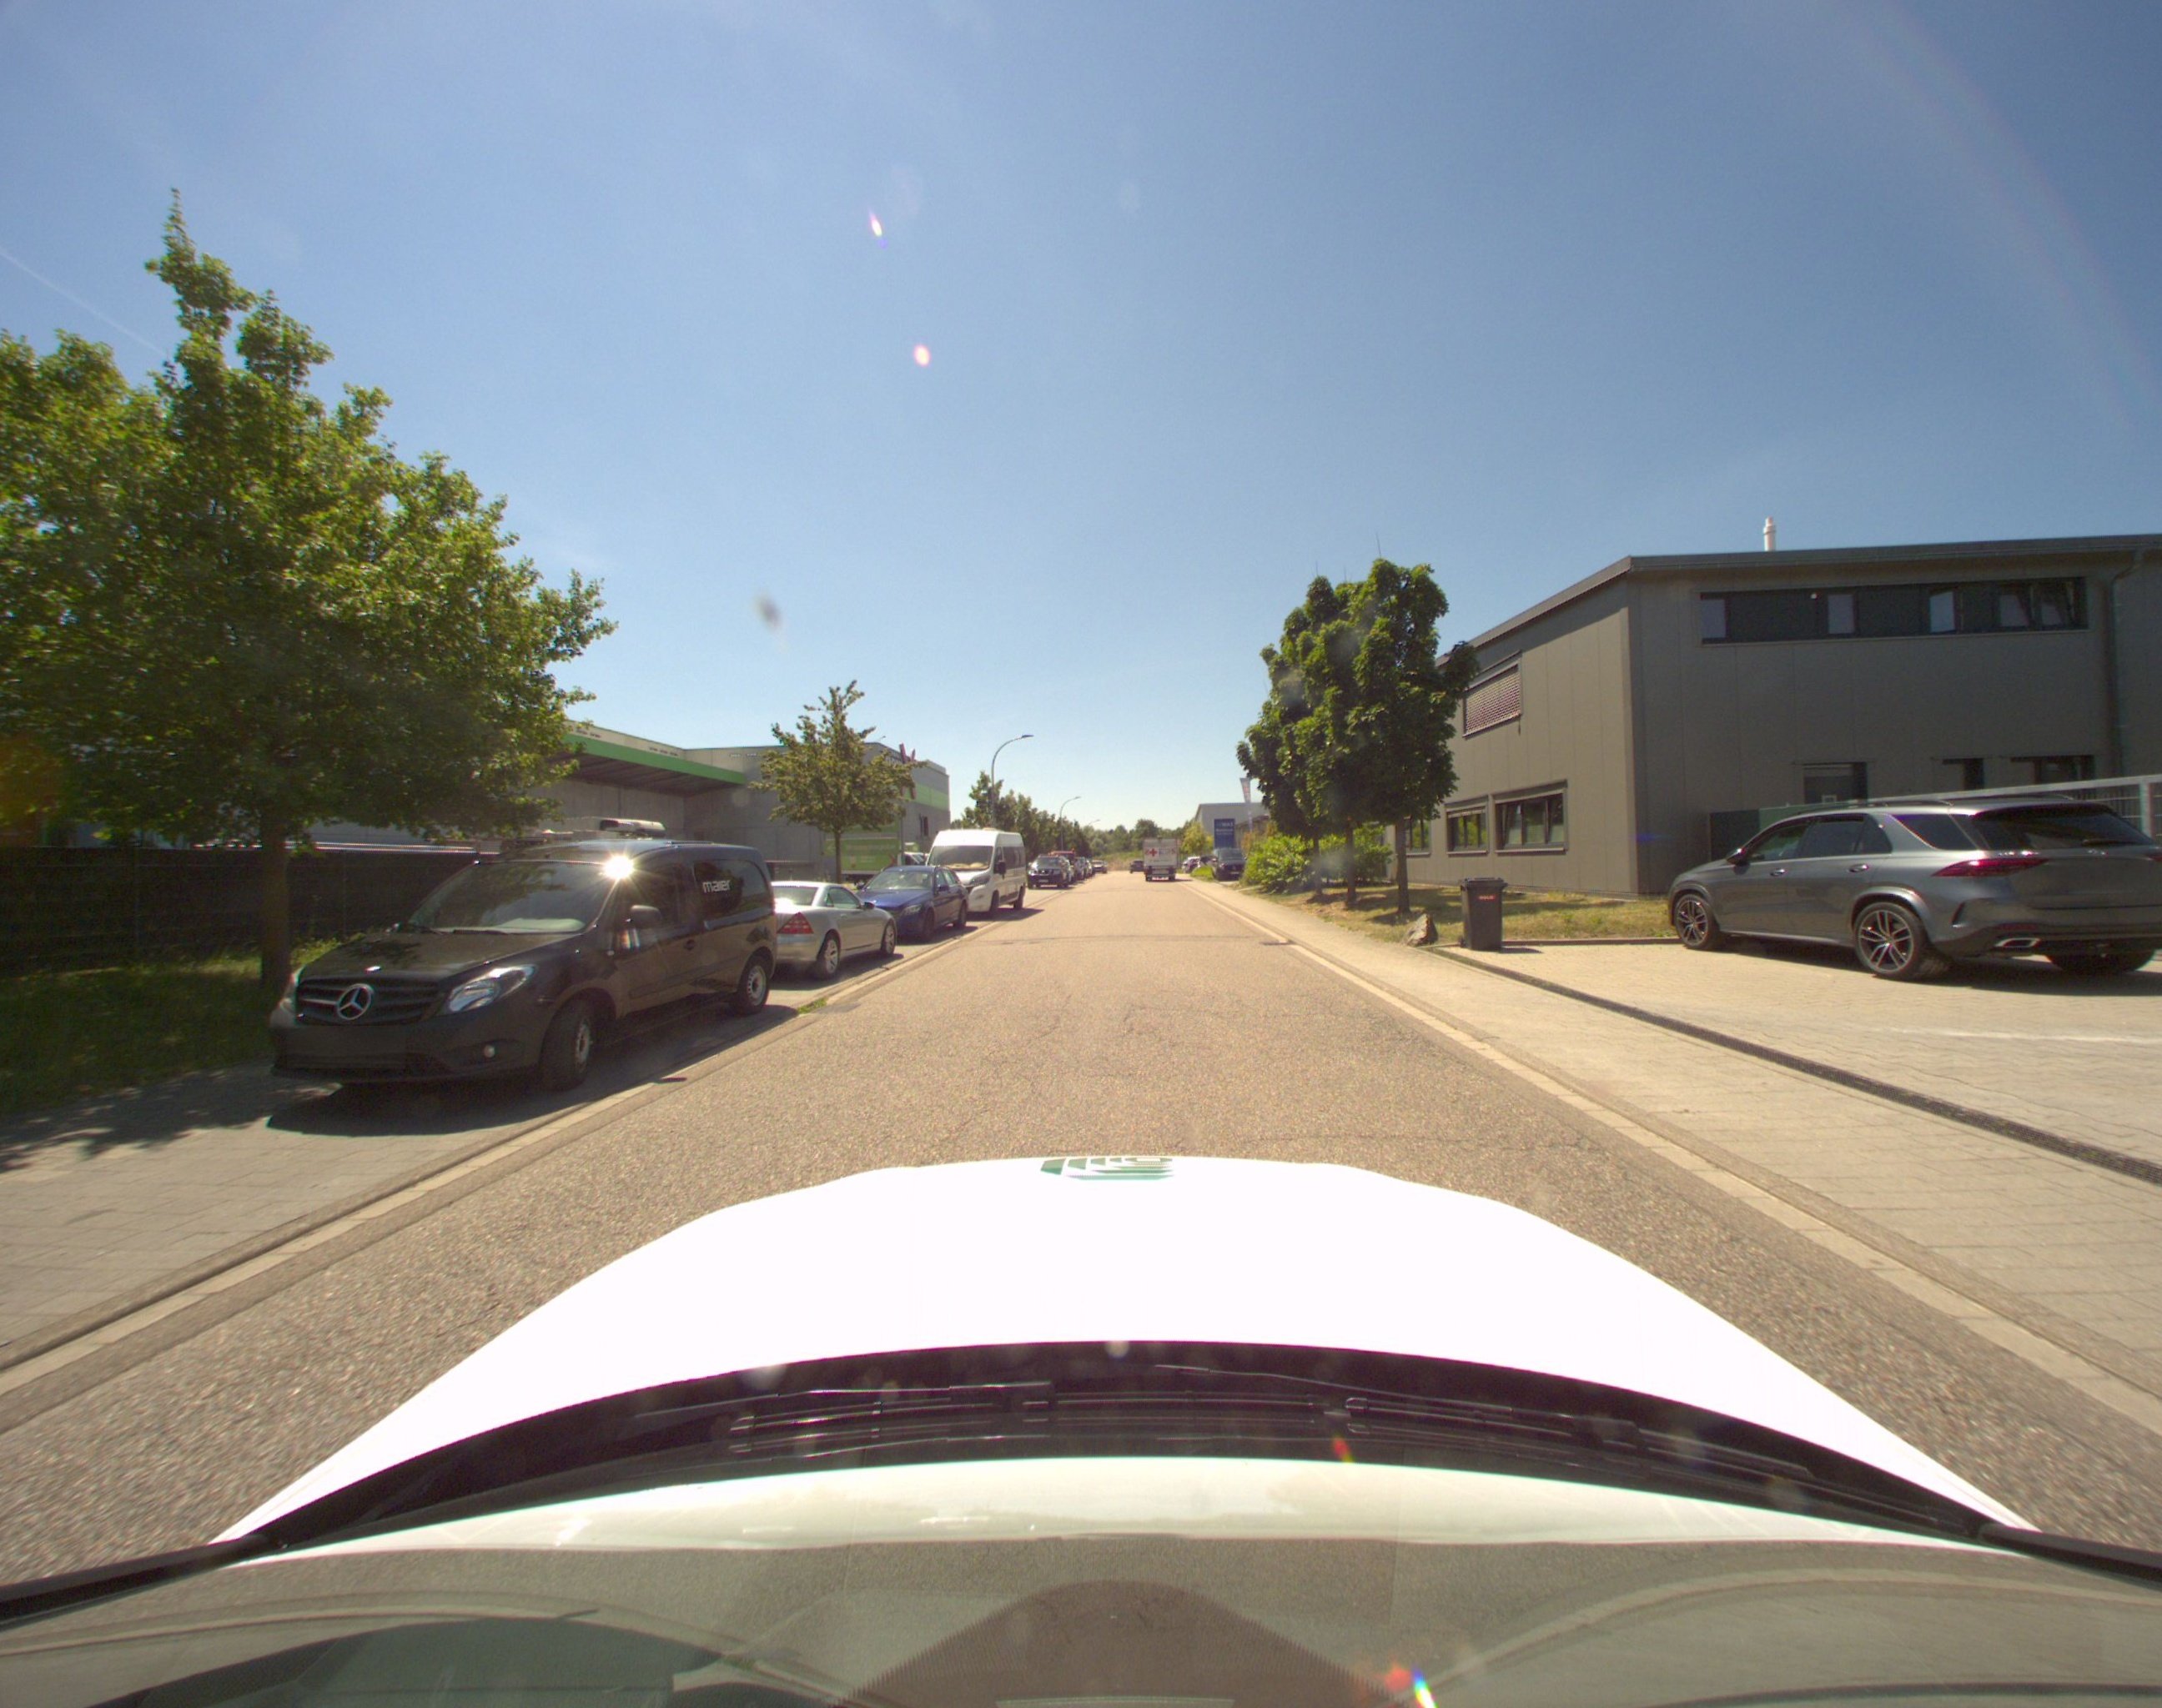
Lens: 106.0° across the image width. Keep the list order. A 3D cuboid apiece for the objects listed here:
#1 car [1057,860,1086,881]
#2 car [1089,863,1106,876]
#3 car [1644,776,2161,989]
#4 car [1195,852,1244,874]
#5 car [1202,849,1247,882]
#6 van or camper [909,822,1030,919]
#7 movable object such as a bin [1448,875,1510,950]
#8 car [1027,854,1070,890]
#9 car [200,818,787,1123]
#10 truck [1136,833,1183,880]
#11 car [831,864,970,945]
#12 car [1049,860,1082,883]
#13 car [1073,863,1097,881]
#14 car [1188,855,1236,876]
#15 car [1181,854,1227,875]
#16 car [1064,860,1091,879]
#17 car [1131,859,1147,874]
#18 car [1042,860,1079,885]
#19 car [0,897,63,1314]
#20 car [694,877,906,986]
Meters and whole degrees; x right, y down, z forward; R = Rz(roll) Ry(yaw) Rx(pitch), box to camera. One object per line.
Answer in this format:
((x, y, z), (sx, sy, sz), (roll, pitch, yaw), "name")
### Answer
((-0.681, 1.208, 61.567), (1.790, 1.487, 4.258), (0, 0, 5), "car")
((2.065, 1.903, 101.635), (1.790, 1.487, 4.258), (0, 0, 5), "car")
((8.950, 0.306, 9.442), (1.776, 1.783, 4.913), (-2, -2, 6), "car")
((11.513, 0.757, 67.870), (3.862, 1.750, 1.752), (1, -1, 1), "car")
((8.487, 0.680, 48.535), (1.986, 1.803, 4.141), (-1, -1, 1), "car")
((-3.076, 0.476, 24.131), (2.068, 2.483, 6.140), (1, -1, 6), "van or camper")
((5.893, 0.855, 12.095), (0.529, 1.052, 0.846), (-1, -1, 5), "movable object such as a bin")
((-1.721, 0.918, 44.235), (1.790, 1.849, 4.258), (0, 0, 5), "car")
((-4.299, 0.730, 7.014), (1.792, 1.814, 4.255), (0, -1, 3), "car")
((5.241, 0.193, 55.237), (2.920, 2.974, 6.426), (1, -1, 4), "truck")
((-3.664, 0.978, 17.322), (1.792, 1.449, 4.256), (0, 0, 3), "car")
((-1.037, 1.198, 57.127), (1.790, 1.487, 4.258), (0, 0, 5), "car")
((0.365, 1.563, 72.664), (1.790, 1.487, 4.258), (0, 0, 5), "car")
((11.245, 0.982, 69.996), (3.862, 1.750, 1.752), (1, -1, 1), "car")
((11.002, 0.962, 72.717), (3.862, 1.750, 1.752), (1, -1, 1), "car")
((-0.247, 1.217, 66.986), (1.790, 1.487, 4.258), (0, 0, 5), "car")
((6.644, 1.445, 93.357), (1.782, 1.623, 3.812), (1, -1, 4), "car")
((-1.250, 1.148, 51.713), (1.790, 1.487, 4.258), (0, 0, 5), "car")
((-4.859, 0.873, 0.800), (1.792, 1.476, 4.591), (0, -1, 3), "car")
((-3.938, 1.018, 12.109), (1.471, 1.297, 3.905), (0, -1, 6), "car")
